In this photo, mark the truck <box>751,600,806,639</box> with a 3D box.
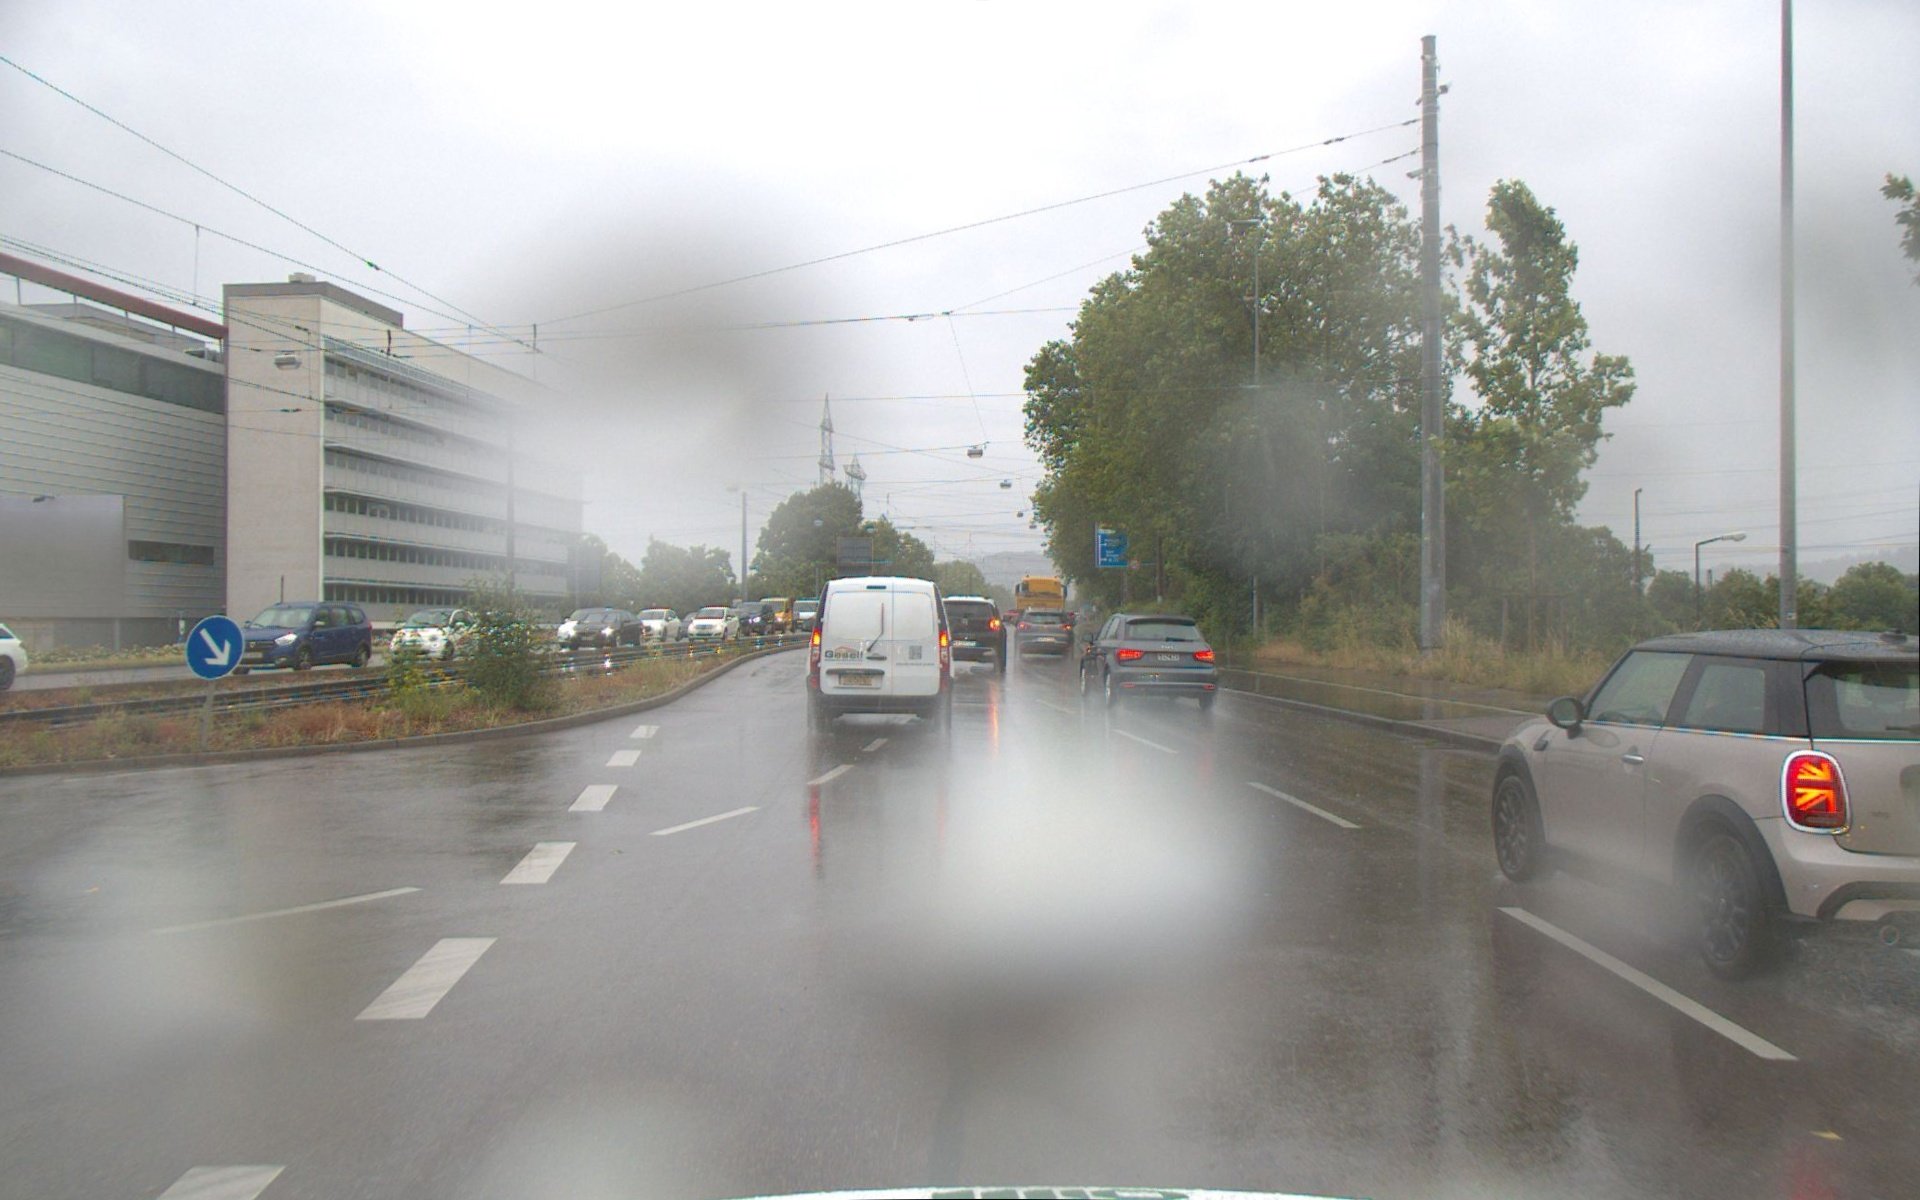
[{"bbox_3d":[-12.063,1.285,110.442,2.180,2.505,6.071,2,0,8],"label":"truck"}]

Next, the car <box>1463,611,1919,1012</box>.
[{"bbox_3d":[3.964,0.811,8.108,1.755,1.438,3.853,1,0,-1],"label":"car"}]

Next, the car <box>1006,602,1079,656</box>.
[{"bbox_3d":[2.337,0.817,47.755,1.781,1.438,3.777,1,0,-2],"label":"car"}]

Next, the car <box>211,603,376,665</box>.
[{"bbox_3d":[-15.474,0.745,38.647,1.676,1.271,4.465,1,1,6],"label":"car"}]

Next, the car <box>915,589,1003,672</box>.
[{"bbox_3d":[-0.025,0.643,37.721,1.860,1.747,4.725,1,0,0],"label":"car"}]

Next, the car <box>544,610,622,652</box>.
[{"bbox_3d":[-16.224,1.306,71.421,1.867,1.634,4.844,2,0,4],"label":"car"}]

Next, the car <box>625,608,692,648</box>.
[{"bbox_3d":[-14.642,1.350,80.600,1.951,1.866,4.695,-1,-1,6],"label":"car"}]

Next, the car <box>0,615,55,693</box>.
[{"bbox_3d":[-19.769,1.083,31.759,1.773,1.461,4.716,1,1,6],"label":"car"}]

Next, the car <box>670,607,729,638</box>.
[{"bbox_3d":[-13.828,1.179,88.078,1.922,1.543,4.557,-2,-1,6],"label":"car"}]

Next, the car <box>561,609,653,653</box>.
[{"bbox_3d":[-13.216,1.133,62.310,1.882,1.448,5.087,1,1,6],"label":"car"}]

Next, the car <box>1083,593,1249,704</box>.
[{"bbox_3d":[3.109,0.684,25.727,1.928,1.555,3.989,1,0,-2],"label":"car"}]

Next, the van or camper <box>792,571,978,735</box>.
[{"bbox_3d":[-0.827,0.572,20.696,1.952,1.816,4.001,1,1,2],"label":"van or camper"}]

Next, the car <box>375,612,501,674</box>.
[{"bbox_3d":[-14.593,1.165,46.456,1.675,1.562,4.051,1,1,10],"label":"car"}]

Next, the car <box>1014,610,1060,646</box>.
[{"bbox_3d":[3.343,1.186,71.075,1.780,1.438,3.781,1,0,5],"label":"car"}]

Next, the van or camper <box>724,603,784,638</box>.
[{"bbox_3d":[-12.543,1.244,101.069,2.256,2.049,5.689,2,0,7],"label":"van or camper"}]

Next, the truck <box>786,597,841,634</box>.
[{"bbox_3d":[-10.626,1.126,120.708,2.383,2.501,7.224,2,0,8],"label":"truck"}]

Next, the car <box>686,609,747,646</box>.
[{"bbox_3d":[-11.508,1.287,78.442,1.833,1.601,4.331,1,1,6],"label":"car"}]

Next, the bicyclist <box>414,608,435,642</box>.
[{"bbox_3d":[-25.891,1.226,79.984,0.657,1.617,0.792,2,-1,5],"label":"bicyclist"}]

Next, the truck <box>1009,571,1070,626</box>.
[{"bbox_3d":[4.308,-0.056,88.182,3.047,2.822,6.332,0,0,4],"label":"truck"}]
